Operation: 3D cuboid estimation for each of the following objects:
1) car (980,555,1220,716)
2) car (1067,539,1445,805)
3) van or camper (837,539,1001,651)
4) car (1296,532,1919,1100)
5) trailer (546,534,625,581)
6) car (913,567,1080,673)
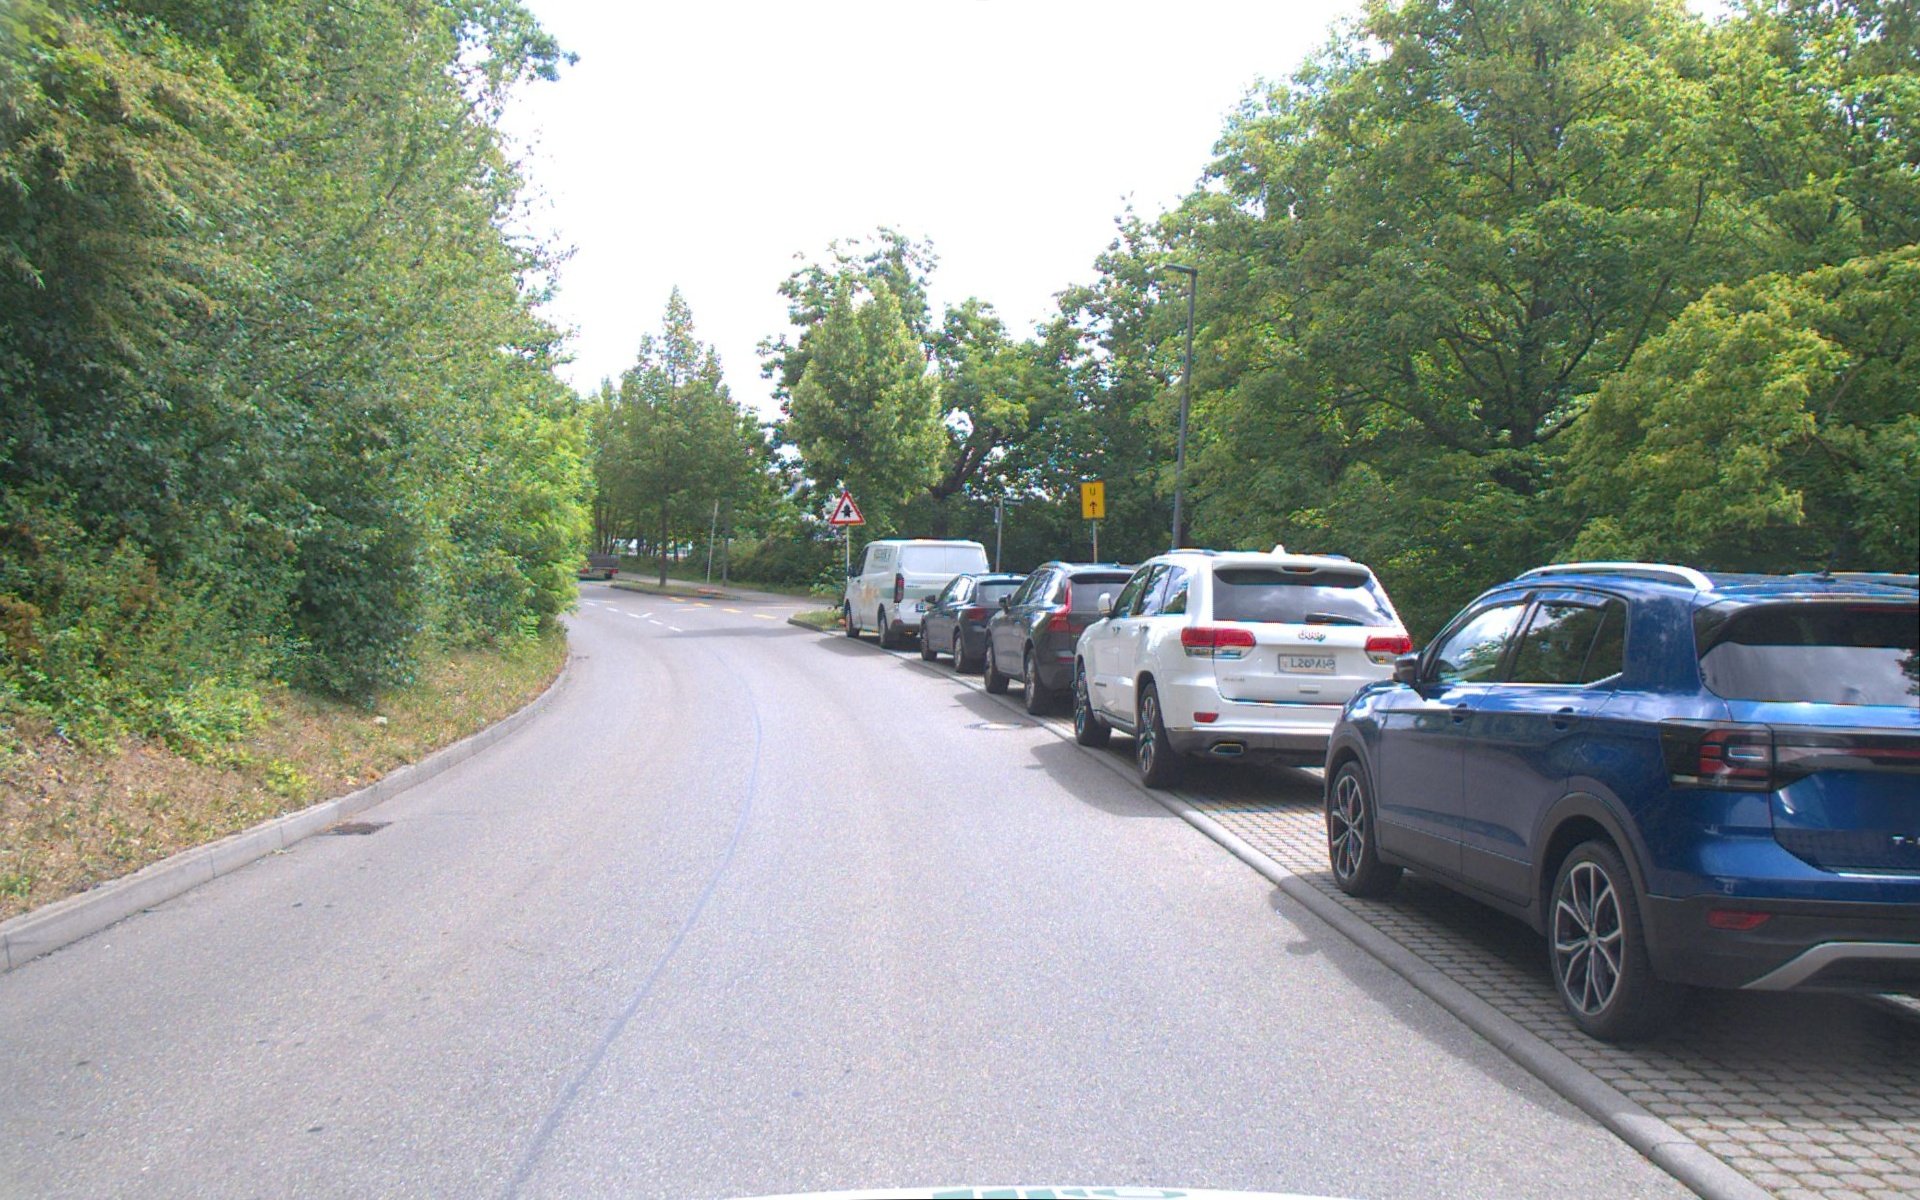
[{"bbox_3d":[1.509,0.306,19.517,1.956,1.654,4.271,0,2,-8],"label":"car"},{"bbox_3d":[2.160,0.442,13.477,1.835,1.718,4.575,3,1,-5],"label":"car"},{"bbox_3d":[-0.909,-0.169,31.799,1.961,1.953,5.245,1,2,-15],"label":"van or camper"},{"bbox_3d":[2.816,0.636,6.825,1.677,1.619,3.996,3,0,-5],"label":"car"},{"bbox_3d":[-14.158,-1.627,62.383,1.766,1.552,3.960,0,4,-31],"label":"trailer"},{"bbox_3d":[0.485,0.261,26.055,1.766,1.489,3.989,2,1,-12],"label":"car"}]
